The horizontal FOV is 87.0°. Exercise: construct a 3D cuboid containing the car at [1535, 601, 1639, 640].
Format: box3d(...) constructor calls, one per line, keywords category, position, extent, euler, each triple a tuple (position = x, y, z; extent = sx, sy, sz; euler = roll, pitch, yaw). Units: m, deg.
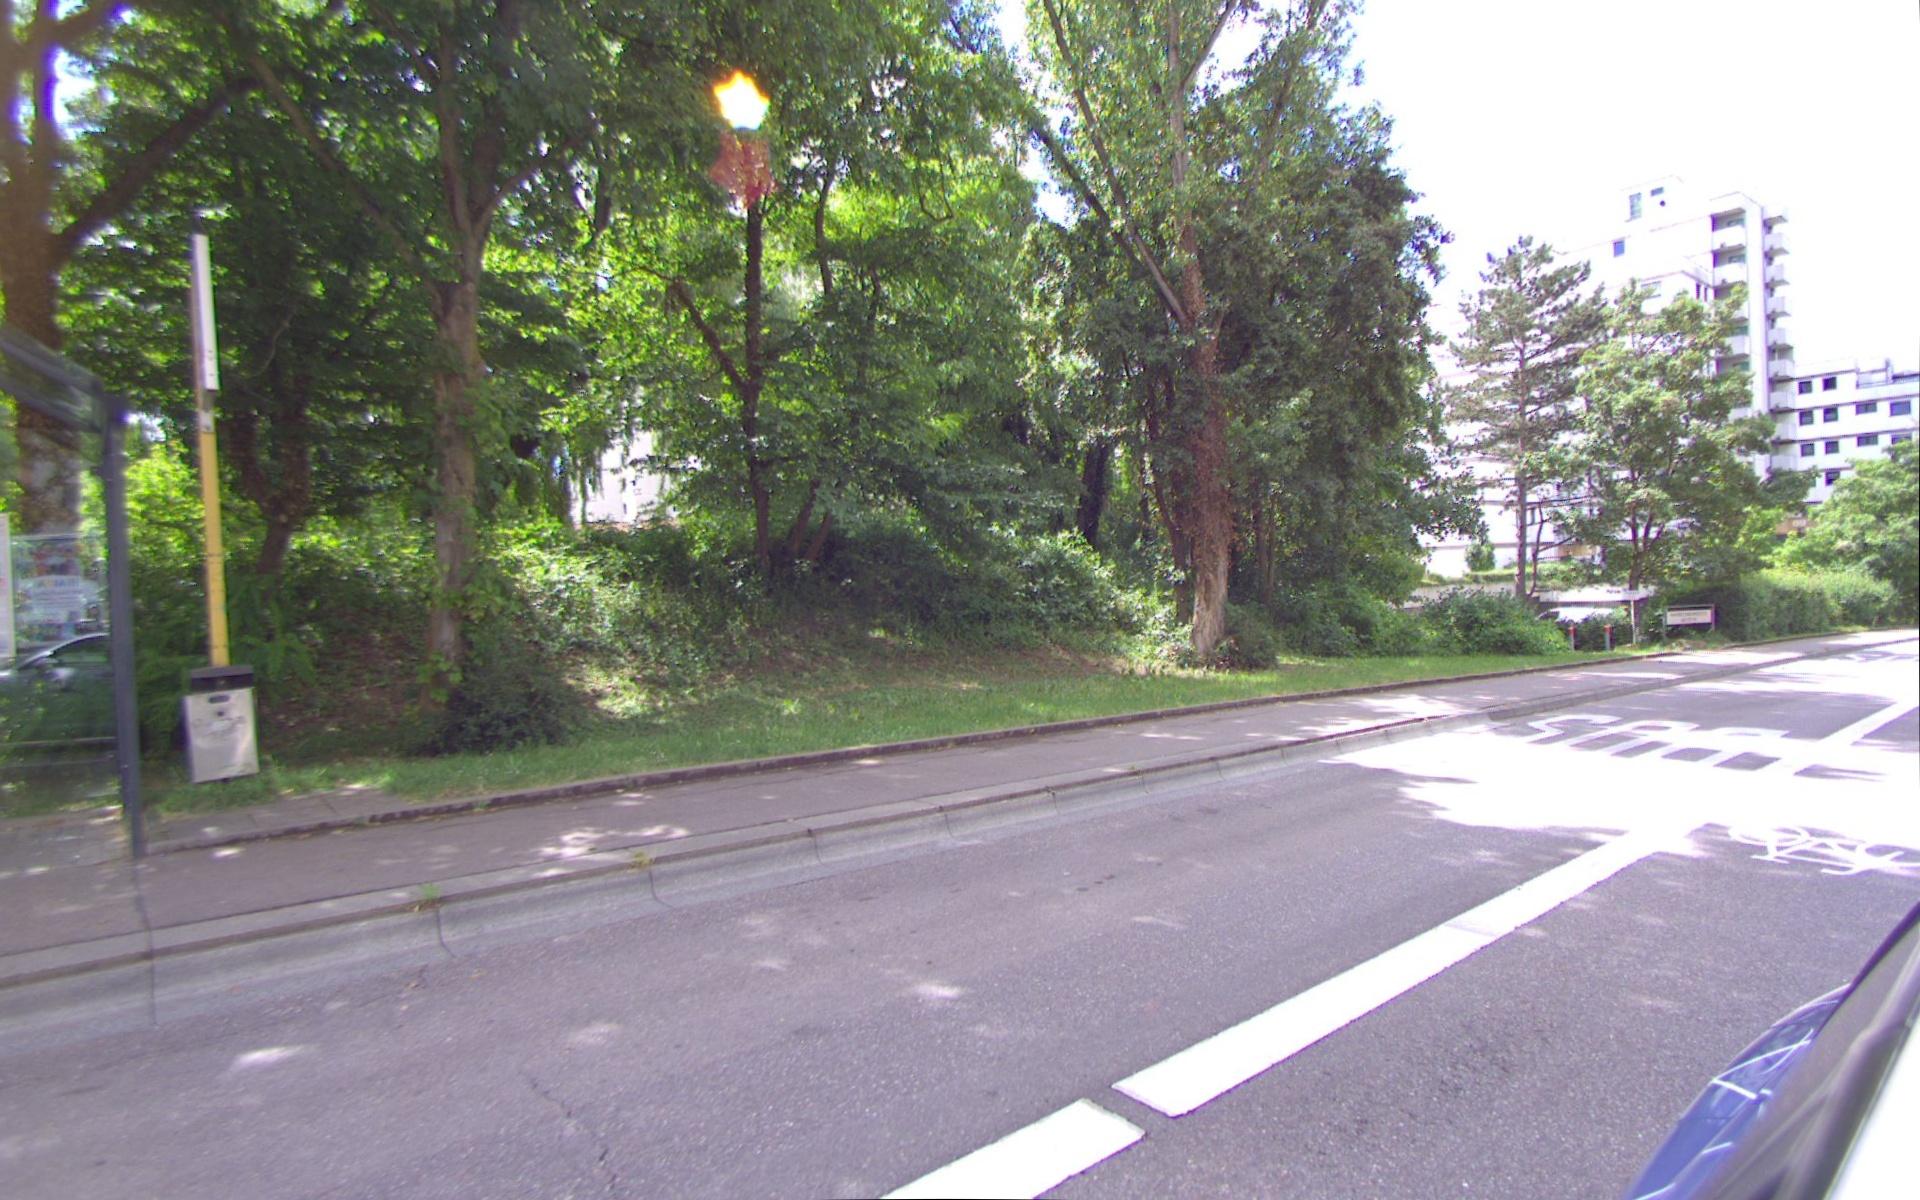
box3d(category="car", position=(34.885, 1.103, 56.407), extent=(1.962, 2.039, 4.550), euler=(-1, 0, -34))
